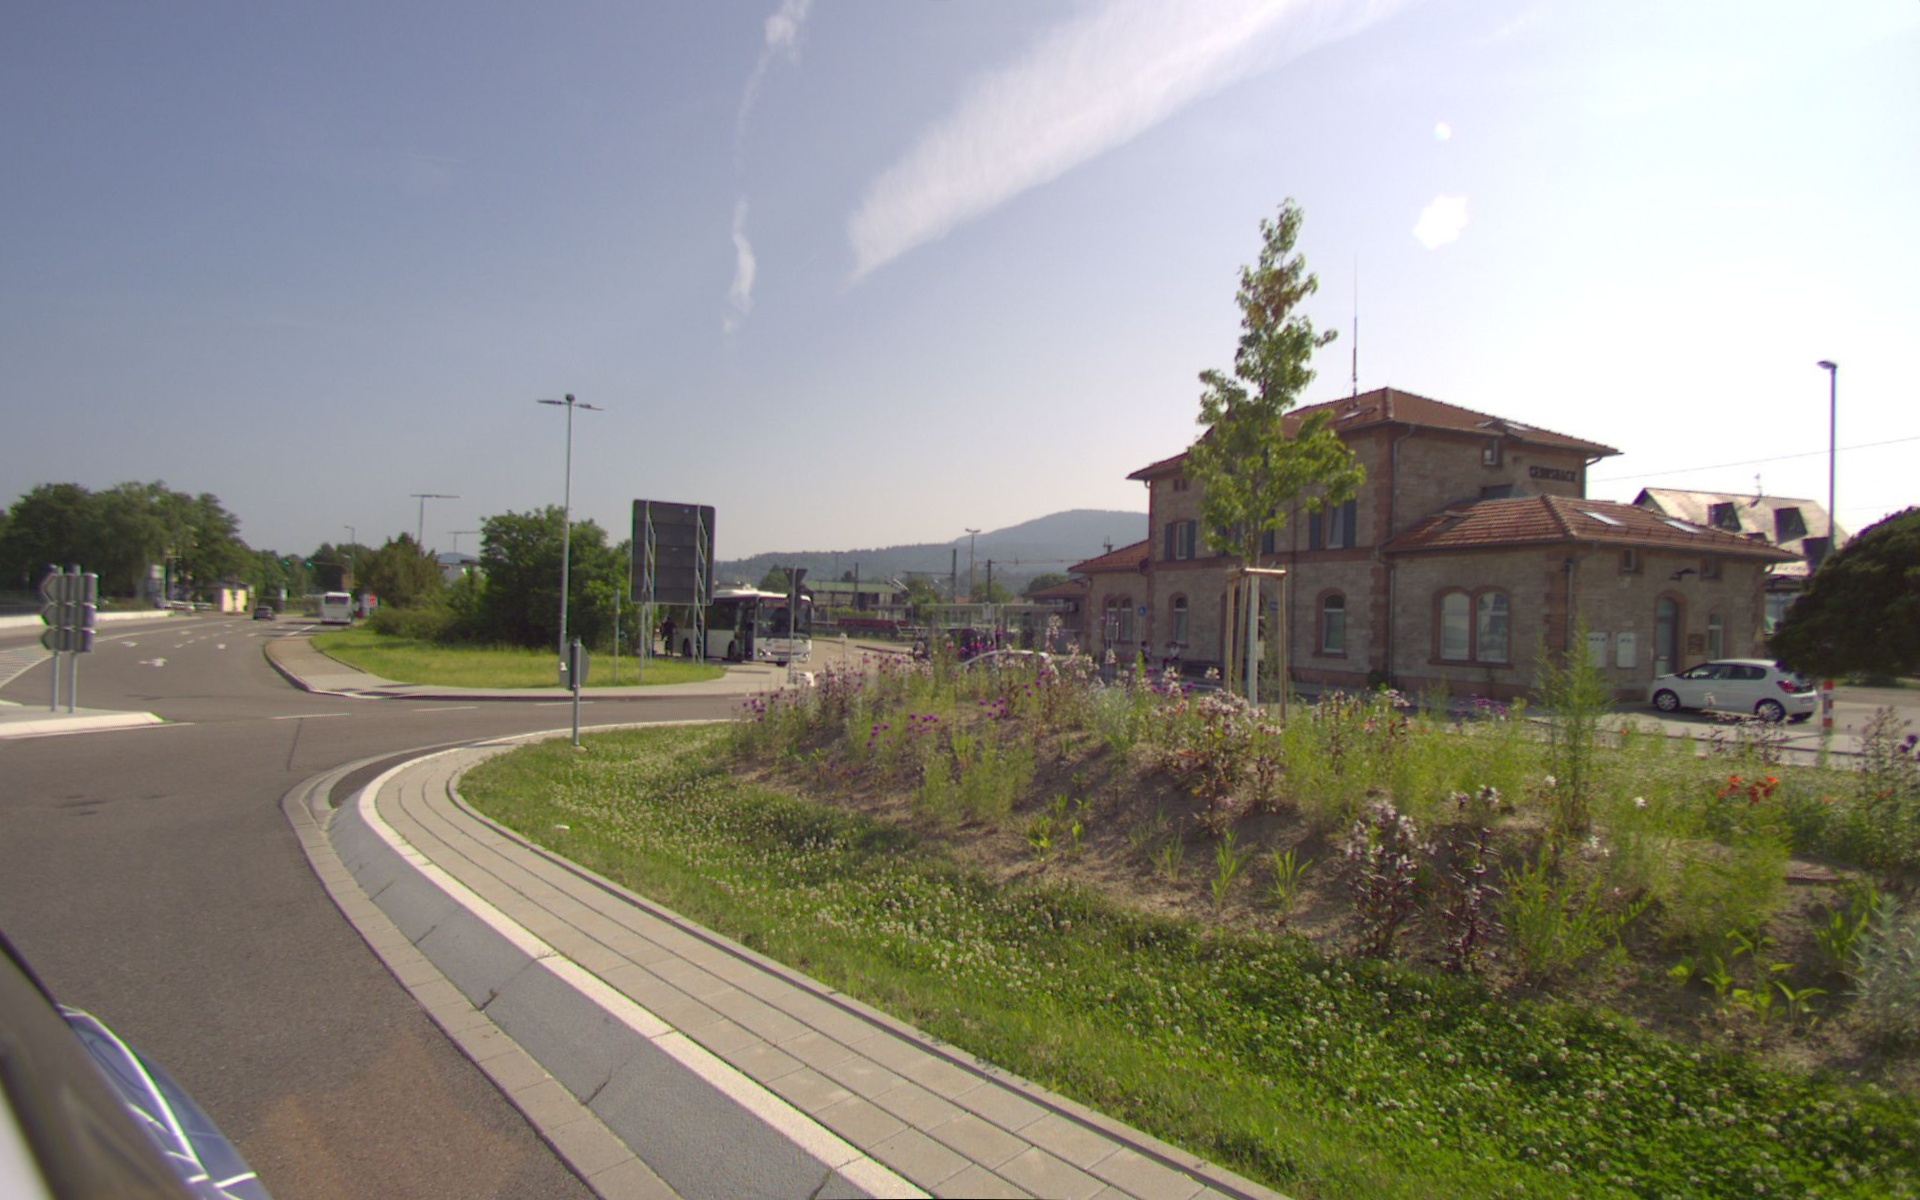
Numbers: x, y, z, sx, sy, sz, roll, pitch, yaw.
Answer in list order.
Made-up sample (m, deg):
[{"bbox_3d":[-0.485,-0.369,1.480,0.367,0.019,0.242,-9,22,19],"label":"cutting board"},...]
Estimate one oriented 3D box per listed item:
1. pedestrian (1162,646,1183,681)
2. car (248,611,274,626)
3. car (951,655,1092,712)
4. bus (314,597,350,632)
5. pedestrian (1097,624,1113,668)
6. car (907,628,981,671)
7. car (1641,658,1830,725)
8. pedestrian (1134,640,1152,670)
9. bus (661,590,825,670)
[{"bbox_3d":[8.528,2.536,40.606,0.557,1.360,0.554,3,-2,-24],"label":"pedestrian"},{"bbox_3d":[-73.904,1.944,106.992,1.747,1.484,4.233,3,-2,-29],"label":"car"},{"bbox_3d":[1.462,1.937,23.705,3.205,1.181,1.389,1,-2,7],"label":"car"},{"bbox_3d":[-63.936,1.421,103.224,2.584,3.335,11.993,3,-2,-30],"label":"bus"},{"bbox_3d":[6.815,2.158,47.456,0.522,2.029,0.579,3,-2,-8],"label":"pedestrian"},{"bbox_3d":[-0.878,2.465,51.517,1.813,1.960,4.898,3,-2,-25],"label":"car"},{"bbox_3d":[19.526,2.260,25.651,1.368,1.461,3.548,2,-2,-28],"label":"car"},{"bbox_3d":[7.717,2.316,42.608,0.435,1.213,0.586,3,-2,-27],"label":"pedestrian"},{"bbox_3d":[-10.090,1.318,45.599,3.023,3.147,11.752,2,-2,-34],"label":"bus"}]
